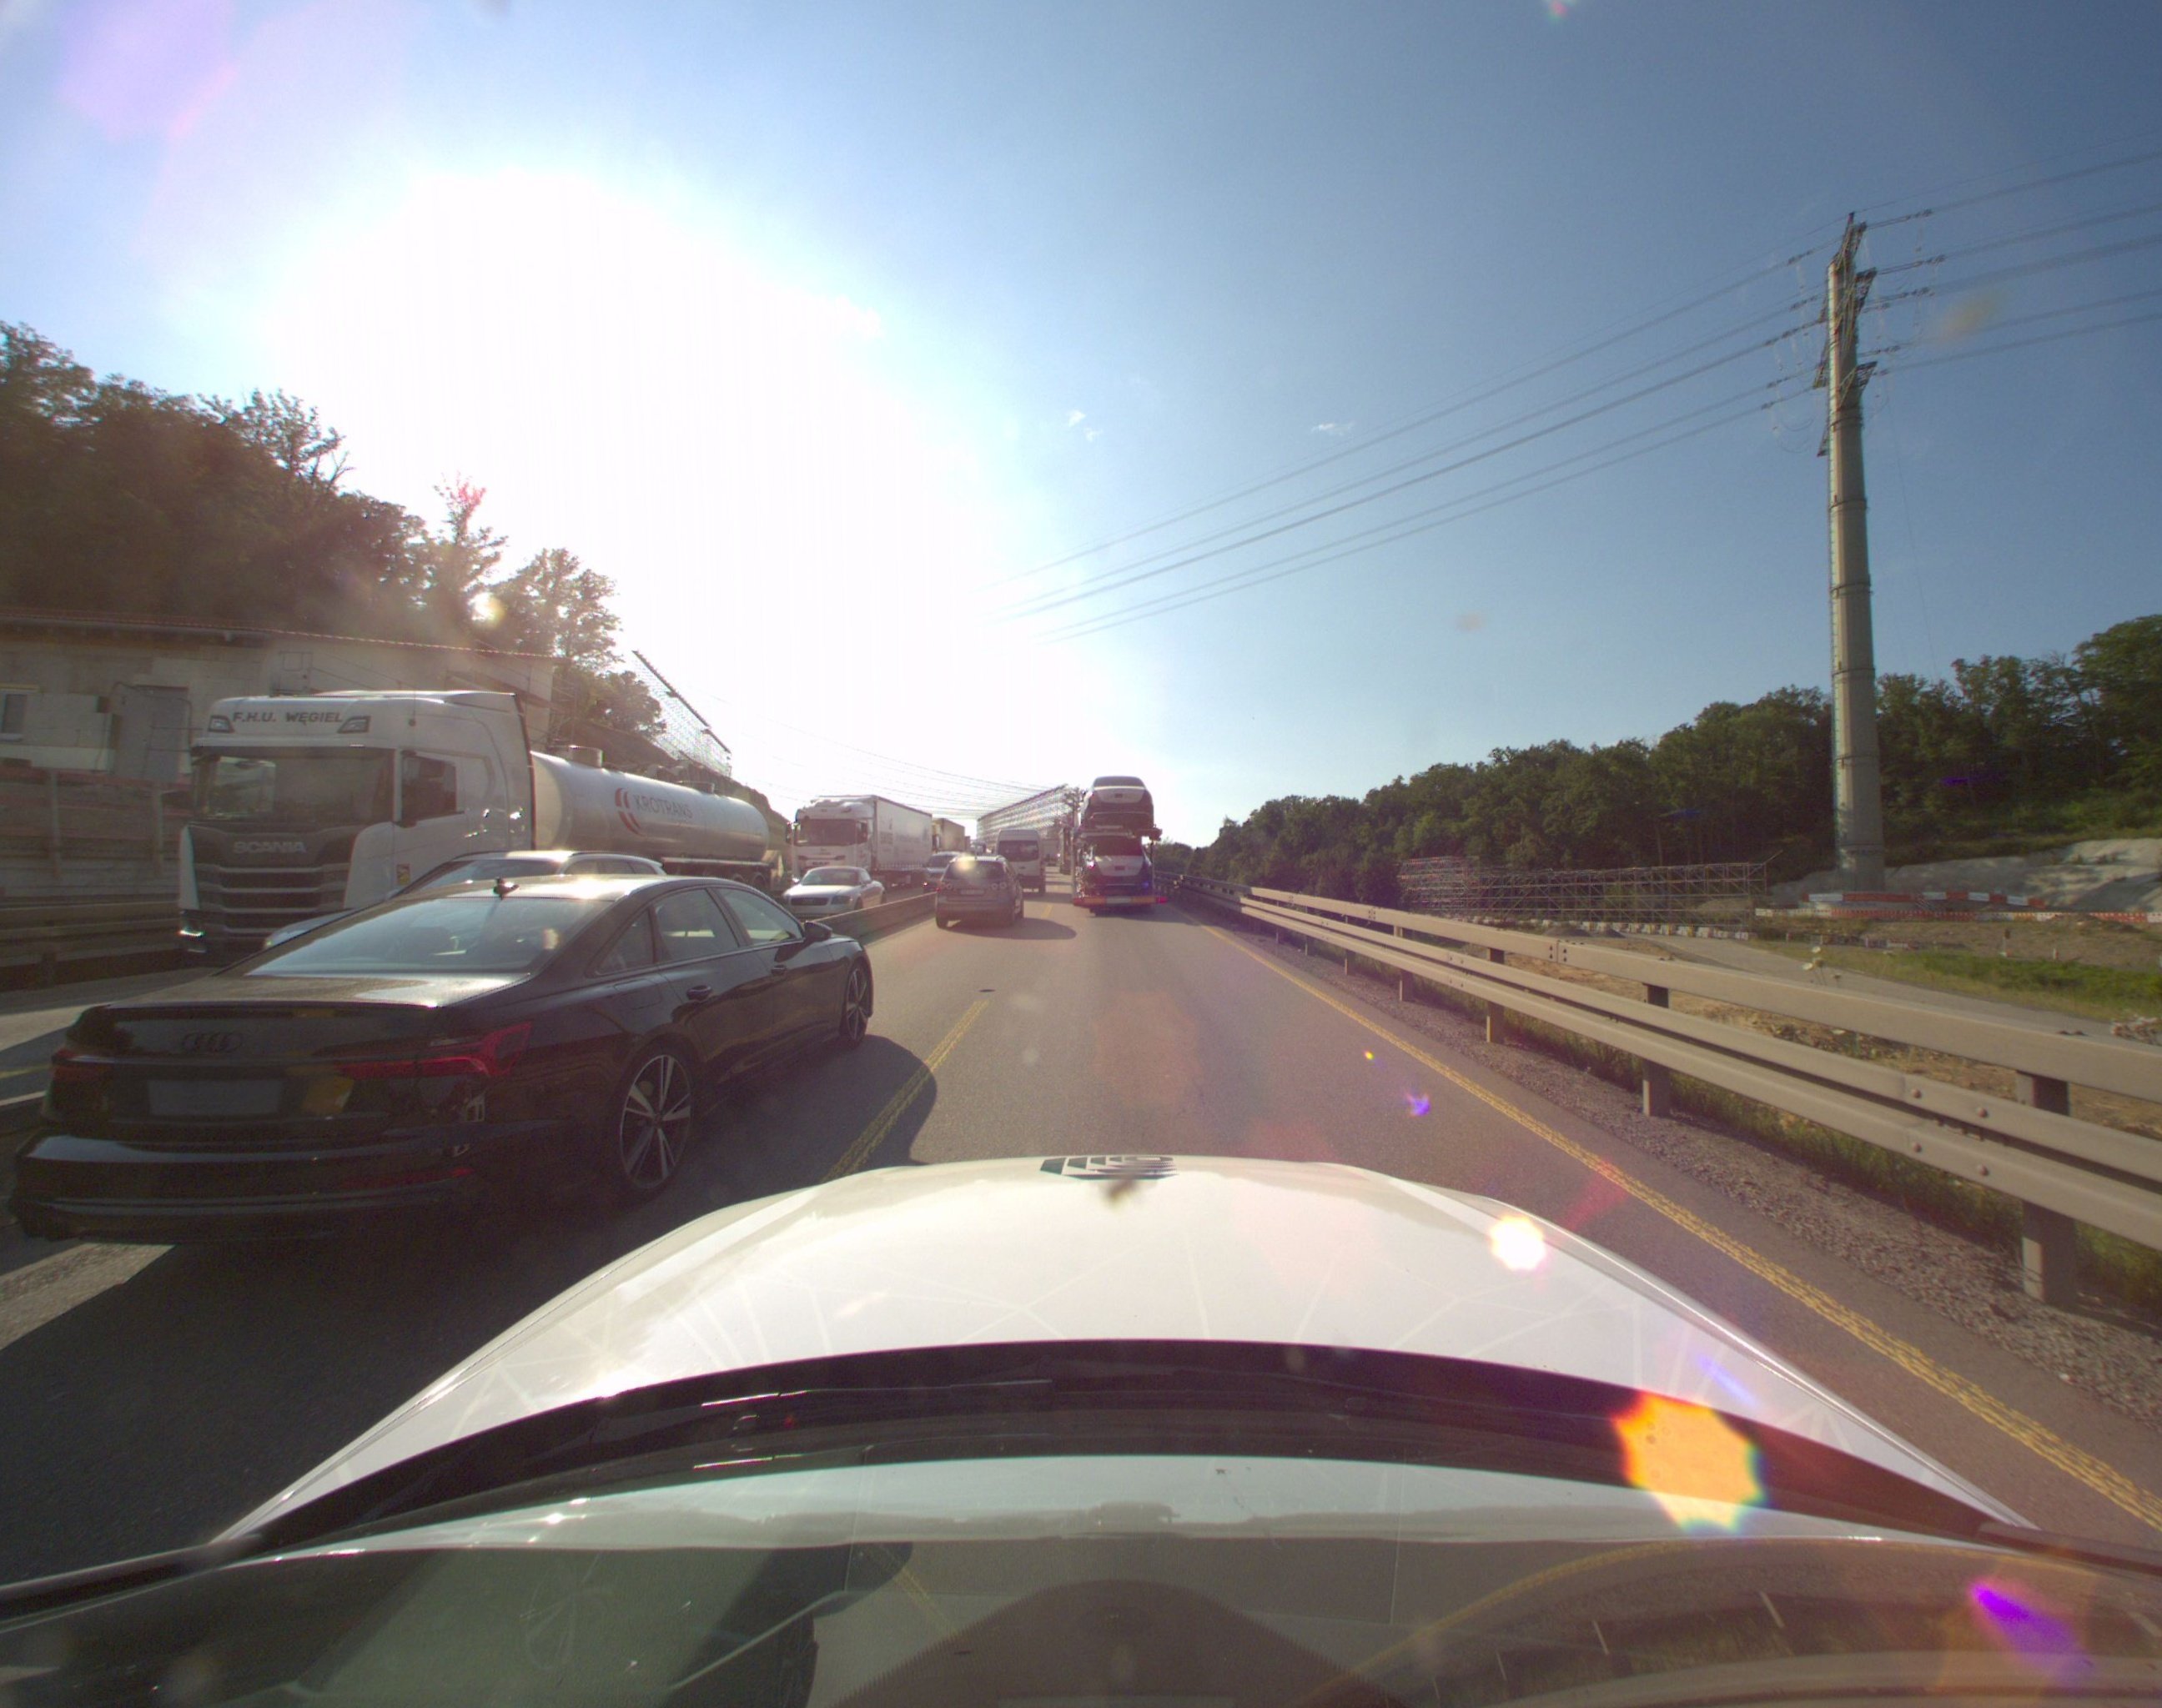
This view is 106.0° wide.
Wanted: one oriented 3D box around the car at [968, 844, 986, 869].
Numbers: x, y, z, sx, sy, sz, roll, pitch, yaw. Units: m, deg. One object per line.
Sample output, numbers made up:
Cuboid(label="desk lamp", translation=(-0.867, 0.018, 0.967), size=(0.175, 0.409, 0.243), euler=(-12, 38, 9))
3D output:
Cuboid(label="car", translation=(-12.239, 0.288, 95.836), size=(1.664, 2.765, 4.954), euler=(-1, 0, -3))

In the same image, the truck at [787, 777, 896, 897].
Cuboid(label="truck", translation=(-9.329, -0.531, 32.395), size=(2.436, 4.272, 6.319), euler=(-1, -2, 0))

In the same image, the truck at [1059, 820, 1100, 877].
Cuboid(label="truck", translation=(-0.281, -0.488, 73.282), size=(3.220, 4.677, 11.684), euler=(-1, 0, -2))

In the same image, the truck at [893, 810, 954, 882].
Cuboid(label="truck", translation=(-9.853, -0.414, 51.506), size=(2.886, 4.272, 5.765), euler=(-1, -2, -2))

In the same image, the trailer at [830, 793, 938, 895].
Cuboid(label="trailer", translation=(-9.377, -0.290, 40.472), size=(2.445, 4.266, 12.141), euler=(-1, -2, 0))

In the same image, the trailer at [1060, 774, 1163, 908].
Cuboid(label="trailer", translation=(0.720, -0.210, 32.236), size=(2.867, 3.994, 15.264), euler=(-1, -2, -2))

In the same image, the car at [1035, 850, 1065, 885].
Cuboid(label="car", translation=(-1.841, 0.838, 49.293), size=(1.663, 1.985, 3.817), euler=(-1, -2, 0))

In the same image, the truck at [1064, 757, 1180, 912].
Cuboid(label="truck", translation=(0.998, -0.451, 24.057), size=(2.863, 3.980, 5.765), euler=(-1, -2, -2))

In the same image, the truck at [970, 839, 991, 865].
Cuboid(label="truck", translation=(-15.523, -0.297, 126.108), size=(2.635, 3.995, 9.018), euler=(-1, 0, -3))

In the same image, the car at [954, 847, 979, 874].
Cuboid(label="car", translation=(-12.304, 0.710, 88.049), size=(2.123, 2.750, 5.498), euler=(-1, -2, -3))

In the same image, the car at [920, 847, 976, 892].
Cuboid(label="car", translation=(-5.956, 0.654, 37.091), size=(1.828, 1.917, 4.862), euler=(-1, 0, -1))

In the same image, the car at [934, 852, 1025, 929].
Cuboid(label="car", translation=(-2.293, 0.831, 19.404), size=(1.696, 1.587, 4.144), euler=(-1, -2, -1))

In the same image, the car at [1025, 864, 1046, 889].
Cuboid(label="car", translation=(-3.893, 1.905, 69.428), size=(1.664, 1.985, 3.813), euler=(-1, -2, -3))

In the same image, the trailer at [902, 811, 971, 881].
Cuboid(label="trailer", translation=(-10.107, -0.330, 58.662), size=(2.886, 4.394, 14.365), euler=(-1, -2, -2))

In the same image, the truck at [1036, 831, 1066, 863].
Cuboid(label="truck", translation=(-4.735, -1.011, 125.558), size=(3.644, 4.677, 11.668), euler=(-1, 0, -6))

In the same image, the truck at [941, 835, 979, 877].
Cuboid(label="truck", translation=(-10.714, 0.266, 72.772), size=(2.352, 3.531, 7.692), euler=(-1, -2, -1))

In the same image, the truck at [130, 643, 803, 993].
Cuboid(label="truck", translation=(-9.381, -0.381, 16.235), size=(2.799, 3.970, 13.892), euler=(-1, 0, 0))

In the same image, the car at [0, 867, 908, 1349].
Cuboid(label="car", translation=(-2.769, 0.861, 5.185), size=(1.932, 1.480, 5.225), euler=(-2, -1, 3))

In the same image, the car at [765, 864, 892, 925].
Cuboid(label="car", translation=(-5.857, 0.900, 19.380), size=(1.705, 1.253, 4.051), euler=(-2, -1, 0))

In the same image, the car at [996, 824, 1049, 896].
Cuboid(label="car", translation=(-2.292, 0.276, 32.895), size=(1.974, 2.685, 4.142), euler=(-1, -2, -2))

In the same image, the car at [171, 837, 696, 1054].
Cuboid(label="car", translation=(-6.188, 0.766, 8.695), size=(1.839, 1.648, 4.561), euler=(-2, -1, 2))
